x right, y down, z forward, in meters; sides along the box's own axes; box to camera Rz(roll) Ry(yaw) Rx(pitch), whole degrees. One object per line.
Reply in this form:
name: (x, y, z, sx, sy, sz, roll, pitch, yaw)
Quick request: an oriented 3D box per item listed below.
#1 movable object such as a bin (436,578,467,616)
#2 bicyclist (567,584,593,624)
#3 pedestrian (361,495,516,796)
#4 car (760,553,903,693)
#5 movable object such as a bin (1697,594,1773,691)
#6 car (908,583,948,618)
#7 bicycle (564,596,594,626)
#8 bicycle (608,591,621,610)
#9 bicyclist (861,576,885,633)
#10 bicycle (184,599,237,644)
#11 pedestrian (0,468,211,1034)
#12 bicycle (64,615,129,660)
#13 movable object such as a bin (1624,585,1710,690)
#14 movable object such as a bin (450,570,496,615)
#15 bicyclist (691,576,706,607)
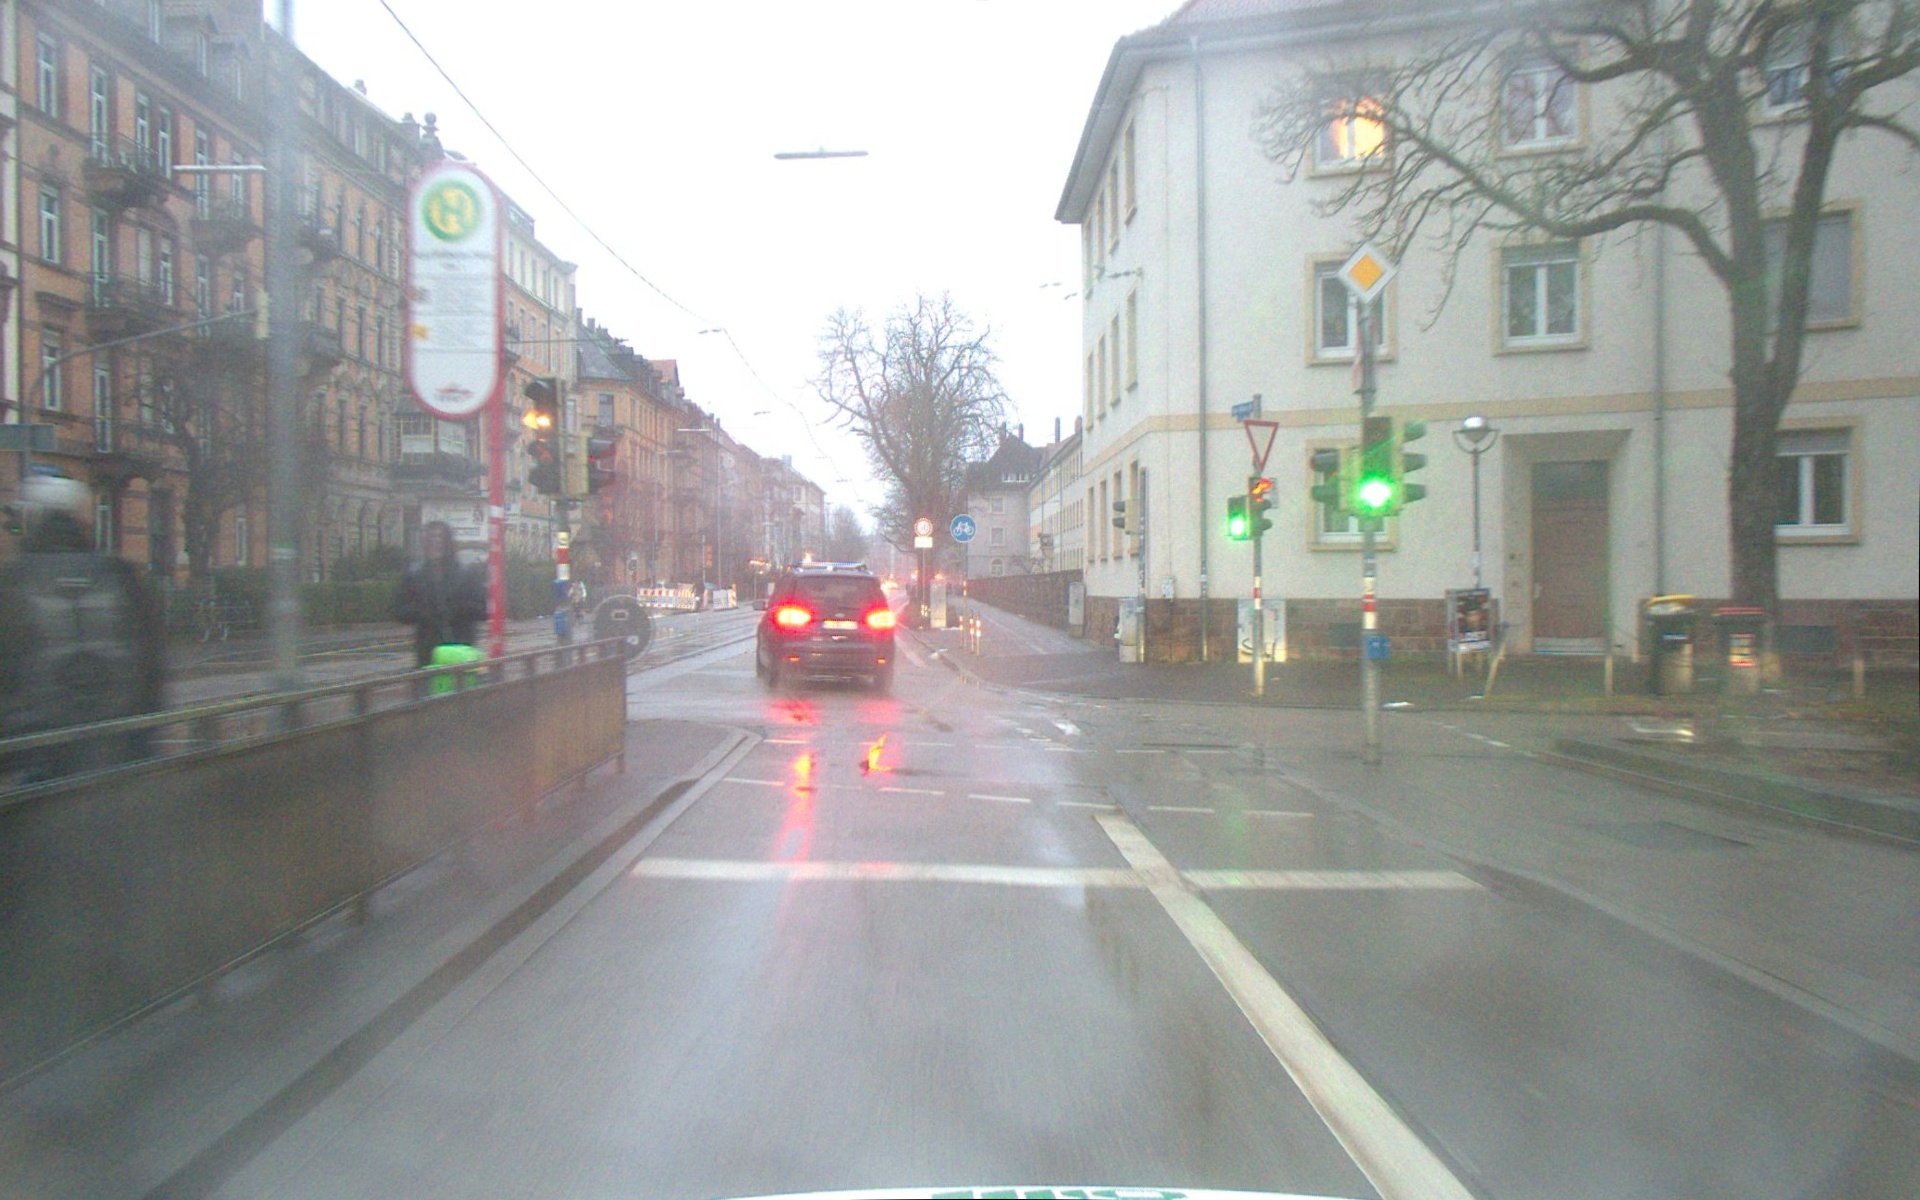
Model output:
movable object such as a bin: (-18.033, -0.103, 58.671, 0.877, 1.315, 0.746, 0, 0, -4)
bicyclist: (-13.632, 0.138, 59.391, 0.690, 1.387, 0.944, 2, 0, -1)
pedestrian: (-3.526, 0.293, 11.234, 0.672, 1.950, 0.718, 2, 0, 10)
car: (-2.040, 0.291, 25.287, 1.769, 1.903, 4.009, 2, 1, -10)
movable object such as a bin: (9.563, 0.518, 20.405, 0.688, 1.139, 0.535, 3, 0, 41)
car: (-1.488, -0.008, 75.739, 1.749, 1.536, 3.986, 0, 1, -2)
bicycle: (-13.652, 0.392, 59.328, 0.667, 1.024, 1.803, 0, 1, 0)
bicycle: (-17.270, 0.028, 82.600, 0.258, 0.931, 1.685, 5, 1, -1)
bicyclist: (-2.745, 0.145, 52.049, 0.715, 1.767, 0.765, 0, 0, 0)
bicycle: (-17.751, 0.505, 39.185, 0.407, 1.024, 1.849, 0, 0, 0)
pedestrian: (-2.935, 0.459, 5.406, 0.644, 1.738, 0.571, 2, 0, -1)
bicycle: (-17.912, 0.759, 34.352, 0.391, 0.877, 1.849, 0, 0, 0)
movable object such as a bin: (8.945, 0.463, 20.939, 0.839, 1.273, 0.519, 3, 0, 42)
movable object such as a bin: (-17.567, -0.270, 59.691, 1.218, 1.613, 1.308, 1, 0, 4)
bicyclist: (-14.140, -0.448, 89.424, 0.670, 1.644, 0.765, 0, 0, 0)
